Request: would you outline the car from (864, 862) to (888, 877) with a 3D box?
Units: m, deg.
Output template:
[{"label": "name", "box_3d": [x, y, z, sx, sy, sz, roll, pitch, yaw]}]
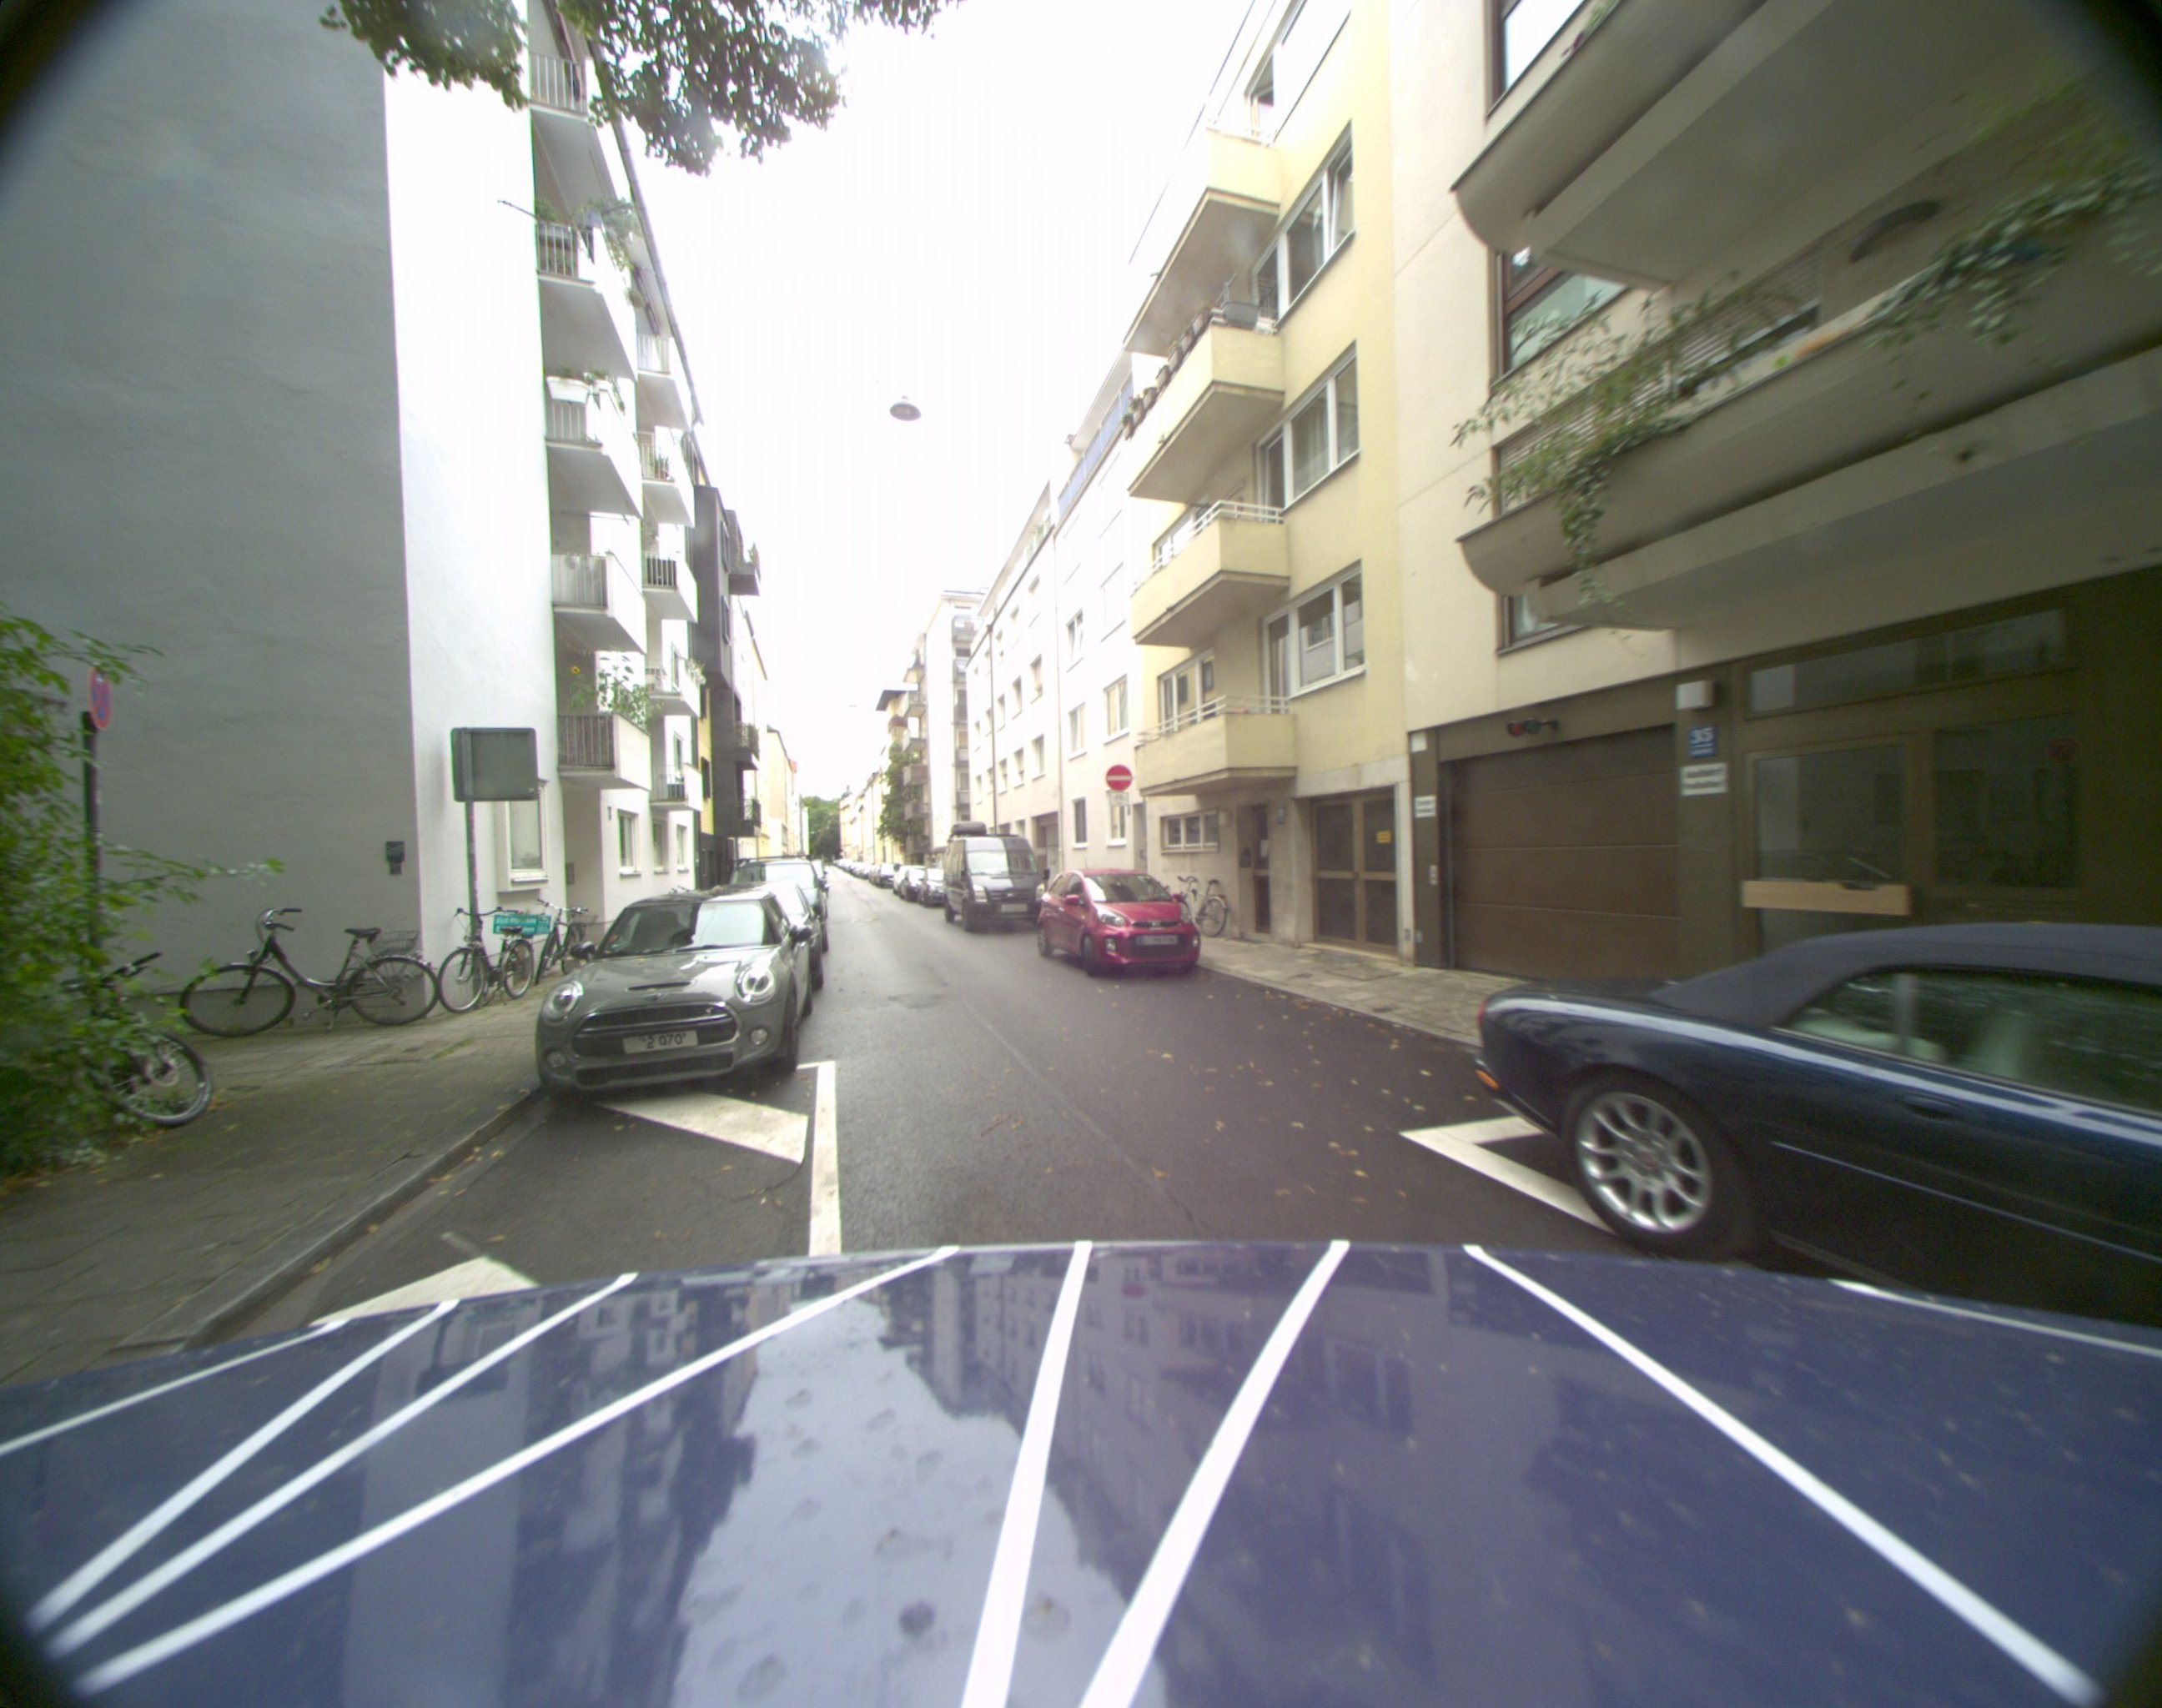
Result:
[{"label": "car", "box_3d": [-20.395, 1.492, 75.425, 1.975, 1.369, 4.289, -2, 1, -19]}]

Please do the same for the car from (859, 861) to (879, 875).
[{"label": "car", "box_3d": [-23.919, 1.525, 85.790, 1.899, 1.444, 4.289, -2, 1, -19]}]

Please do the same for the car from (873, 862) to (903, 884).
[{"label": "car", "box_3d": [-14.541, 1.392, 57.118, 1.821, 1.433, 4.289, -2, 1, -19]}]

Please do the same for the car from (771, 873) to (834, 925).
[{"label": "car", "box_3d": [-9.688, 1.488, 26.476, 1.766, 1.423, 4.254, -5, 2, -20]}]

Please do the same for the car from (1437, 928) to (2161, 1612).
[{"label": "car", "box_3d": [3.284, 1.021, 1.738, 1.804, 1.270, 4.610, 0, -1, -18]}]

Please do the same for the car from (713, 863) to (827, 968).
[{"label": "car", "box_3d": [-6.428, 1.124, 16.167, 1.882, 1.781, 4.774, -2, 1, -19]}]

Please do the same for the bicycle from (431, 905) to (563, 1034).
[{"label": "bicycle", "box_3d": [-6.794, 1.277, 8.951, 0.562, 1.212, 1.915, -3, 0, -18]}]

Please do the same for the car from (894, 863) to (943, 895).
[{"label": "car", "box_3d": [-8.415, 1.254, 39.066, 1.920, 1.429, 4.801, -2, 1, -19]}]

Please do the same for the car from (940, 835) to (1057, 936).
[{"label": "car", "box_3d": [-2.345, 0.712, 19.951, 2.026, 2.265, 5.382, 0, 0, -18]}]

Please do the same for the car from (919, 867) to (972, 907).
[{"label": "car", "box_3d": [-5.397, 1.254, 29.890, 1.618, 1.438, 3.737, 1, 0, -17]}]

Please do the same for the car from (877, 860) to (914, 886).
[{"label": "car", "box_3d": [-12.592, 1.267, 51.456, 1.975, 1.597, 4.533, -2, 1, -19]}]

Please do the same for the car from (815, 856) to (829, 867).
[{"label": "car", "box_3d": [-38.393, 1.092, 112.725, 1.899, 1.621, 4.289, -2, 1, -19]}]

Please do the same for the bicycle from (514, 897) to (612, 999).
[{"label": "bicycle", "box_3d": [-7.509, 1.298, 11.119, 0.626, 1.212, 2.244, -3, 0, -21]}]

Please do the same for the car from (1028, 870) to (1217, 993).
[{"label": "car", "box_3d": [0.468, 1.049, 11.811, 1.626, 1.487, 3.703, -1, 0, -19]}]

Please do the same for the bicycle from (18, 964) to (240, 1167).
[{"label": "bicycle", "box_3d": [-6.084, 1.274, 4.841, 1.631, 1.049, 0.452, -2, 1, 24]}]

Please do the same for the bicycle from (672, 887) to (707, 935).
[{"label": "bicycle", "box_3d": [-10.297, 1.468, 19.999, 0.573, 1.144, 1.428, -2, 0, -19]}]

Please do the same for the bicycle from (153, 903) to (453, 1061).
[{"label": "bicycle", "box_3d": [-7.265, 1.148, 7.226, 1.856, 1.223, 0.577, -3, 1, -26]}]

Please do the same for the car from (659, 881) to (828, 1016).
[{"label": "car", "box_3d": [-4.726, 1.186, 11.143, 1.841, 1.411, 4.052, -1, 0, -19]}]

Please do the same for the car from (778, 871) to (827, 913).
[{"label": "car", "box_3d": [-11.337, 1.486, 31.014, 1.741, 1.421, 4.195, -2, 1, -20]}]

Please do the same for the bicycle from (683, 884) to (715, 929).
[{"label": "bicycle", "box_3d": [-10.840, 1.469, 21.598, 0.573, 1.144, 1.560, -2, 0, -19]}]

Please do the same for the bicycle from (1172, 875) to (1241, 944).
[{"label": "bicycle", "box_3d": [2.283, 0.978, 14.004, 0.469, 1.142, 1.757, -3, 0, -17]}]

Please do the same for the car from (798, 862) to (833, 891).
[{"label": "car", "box_3d": [-17.029, 1.387, 48.850, 1.969, 1.665, 4.534, -2, 1, -19]}]

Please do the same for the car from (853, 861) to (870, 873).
[{"label": "car", "box_3d": [-29.635, 1.735, 102.481, 1.899, 1.444, 4.289, -2, 1, -19]}]

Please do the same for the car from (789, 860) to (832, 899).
[{"label": "car", "box_3d": [-14.651, 1.306, 41.316, 1.990, 1.828, 5.175, -4, 1, -19]}]

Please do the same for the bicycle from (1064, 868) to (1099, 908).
[{"label": "bicycle", "box_3d": [0.000, 0.962, 22.178, 0.465, 1.091, 1.867, -3, 1, -17]}]

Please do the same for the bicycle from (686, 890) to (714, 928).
[{"label": "bicycle", "box_3d": [-11.208, 1.600, 22.371, 0.479, 0.997, 1.550, -3, 1, -19]}]

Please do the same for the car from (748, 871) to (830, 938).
[{"label": "car", "box_3d": [-8.221, 1.338, 21.702, 1.913, 1.545, 4.617, -2, 1, -19]}]

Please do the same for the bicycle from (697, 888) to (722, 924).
[{"label": "bicycle", "box_3d": [-11.686, 1.617, 23.949, 0.479, 1.042, 1.519, -2, 0, -19]}]

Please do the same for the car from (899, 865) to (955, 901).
[{"label": "car", "box_3d": [-7.004, 1.243, 34.174, 1.808, 1.409, 4.219, -2, 1, -20]}]

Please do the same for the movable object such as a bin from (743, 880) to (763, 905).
[{"label": "movable object such as a bin", "box_3d": [-15.700, 1.844, 36.339, 0.798, 1.133, 0.573, -2, 1, -20]}]

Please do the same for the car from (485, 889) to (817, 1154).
[{"label": "car", "box_3d": [-3.412, 1.136, 6.867, 1.750, 1.432, 3.994, -1, 0, -17]}]
